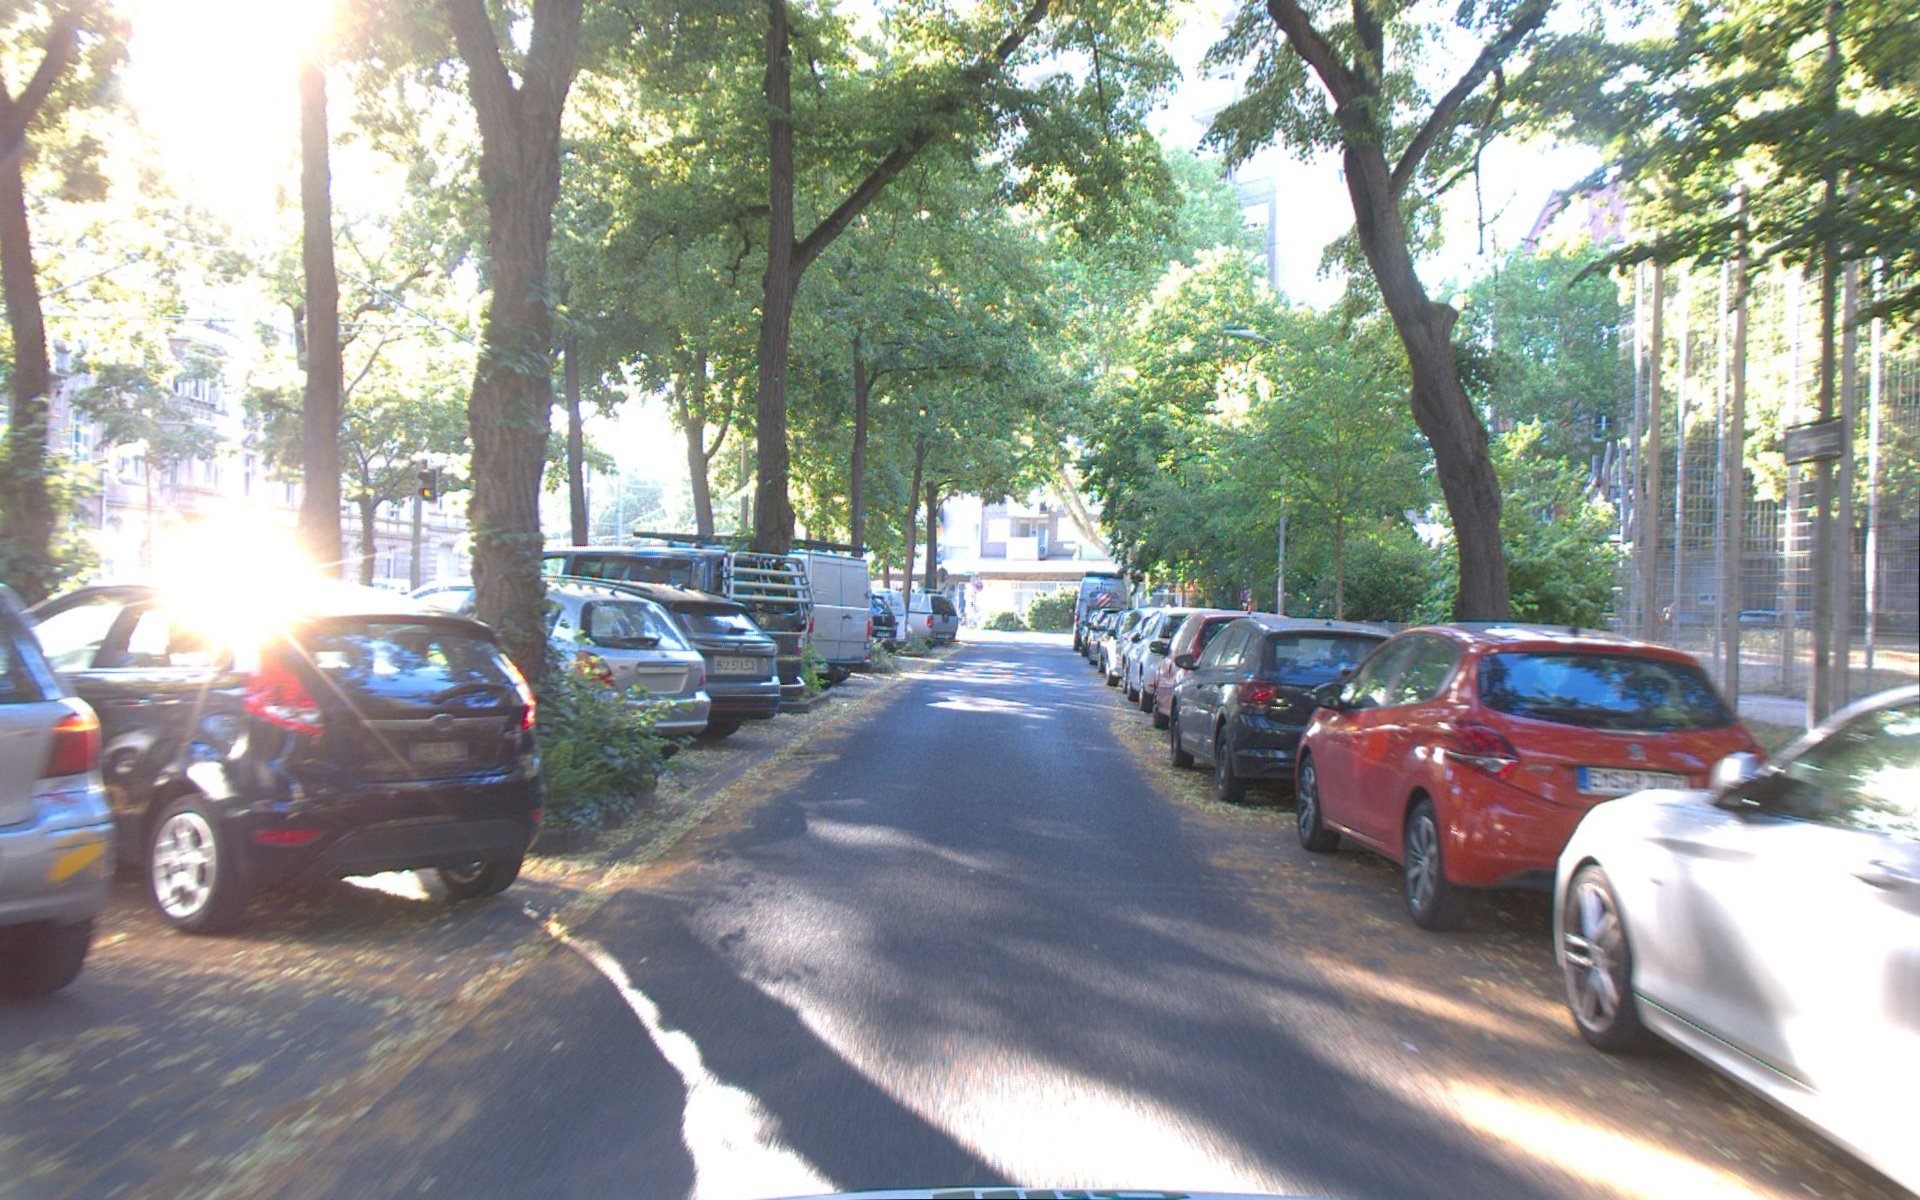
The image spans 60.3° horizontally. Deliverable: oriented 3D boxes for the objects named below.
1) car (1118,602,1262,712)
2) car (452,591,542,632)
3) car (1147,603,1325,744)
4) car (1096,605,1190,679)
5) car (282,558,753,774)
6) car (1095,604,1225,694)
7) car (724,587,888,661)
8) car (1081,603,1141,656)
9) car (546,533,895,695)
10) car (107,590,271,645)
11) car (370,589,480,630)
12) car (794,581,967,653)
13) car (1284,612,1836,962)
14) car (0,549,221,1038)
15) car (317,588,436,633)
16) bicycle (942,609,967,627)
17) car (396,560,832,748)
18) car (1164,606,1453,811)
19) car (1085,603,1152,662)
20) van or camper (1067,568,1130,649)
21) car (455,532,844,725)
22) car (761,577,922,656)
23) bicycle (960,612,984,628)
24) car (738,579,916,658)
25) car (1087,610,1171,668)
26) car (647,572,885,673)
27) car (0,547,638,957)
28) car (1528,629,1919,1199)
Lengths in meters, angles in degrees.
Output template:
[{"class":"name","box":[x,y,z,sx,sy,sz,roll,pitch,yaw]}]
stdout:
[{"class":"car","box":[3.376,0.796,24.915,1.646,1.479,4.076,1,0,1]},{"class":"car","box":[-19.607,0.488,70.010,3.572,1.668,1.657,1,0,31]},{"class":"car","box":[3.189,0.798,19.683,1.558,1.479,3.555,1,0,1]},{"class":"car","box":[3.912,0.863,35.930,1.645,1.449,4.660,1,0,2]},{"class":"car","box":[-4.018,0.527,14.842,4.008,1.514,1.779,4,0,33]},{"class":"car","box":[3.538,0.831,29.889,1.647,1.479,4.073,1,0,-3]},{"class":"car","box":[-3.630,0.557,38.897,3.356,1.450,1.829,4,0,33]},{"class":"car","box":[4.711,0.885,52.167,1.645,1.552,4.491,1,0,2]},{"class":"car","box":[-3.923,0.197,26.729,5.398,2.174,2.076,4,0,31]},{"class":"car","box":[-19.957,0.444,42.803,3.905,1.340,1.594,1,0,21]},{"class":"car","box":[-19.540,0.349,60.396,3.654,1.405,1.725,1,0,26]},{"class":"car","box":[-2.456,0.513,50.740,4.894,1.812,1.984,4,0,30]},{"class":"car","box":[3.027,0.835,9.251,1.638,1.479,3.949,1,0,0]},{"class":"car","box":[-4.580,0.498,5.870,3.474,1.519,1.822,4,0,30]},{"class":"car","box":[-19.480,0.344,55.168,3.654,1.405,1.705,1,0,27]},{"class":"bicycle","box":[-0.336,1.066,100.413,0.631,1.040,2.070,1,0,-26]},{"class":"car","box":[-3.745,0.516,17.612,4.479,1.567,1.928,4,0,35]},{"class":"car","box":[2.830,0.810,14.250,1.638,1.479,3.949,1,0,0]},{"class":"car","box":[4.430,0.875,46.747,1.645,1.552,4.289,1,0,2]},{"class":"van or camper","box":[5.079,0.298,61.411,2.040,2.811,5.847,1,0,2]},{"class":"car","box":[-3.882,0.303,20.378,4.618,1.976,1.928,4,0,35]},{"class":"car","box":[-3.247,0.432,44.849,4.081,1.812,1.875,4,0,38]},{"class":"bicycle","box":[0.711,1.174,98.714,0.537,0.920,1.716,1,0,-32]},{"class":"car","box":[-3.365,0.456,41.628,4.075,1.673,1.909,4,0,34]},{"class":"car","box":[4.103,0.927,40.772,1.646,1.305,4.287,1,0,1]},{"class":"car","box":[-3.873,0.426,32.773,4.424,1.644,1.849,4,0,31]},{"class":"car","box":[-3.607,0.562,8.164,3.748,1.464,1.819,4,0,35]},{"class":"car","box":[3.060,0.843,4.354,1.638,1.422,4.299,1,0,0]}]
